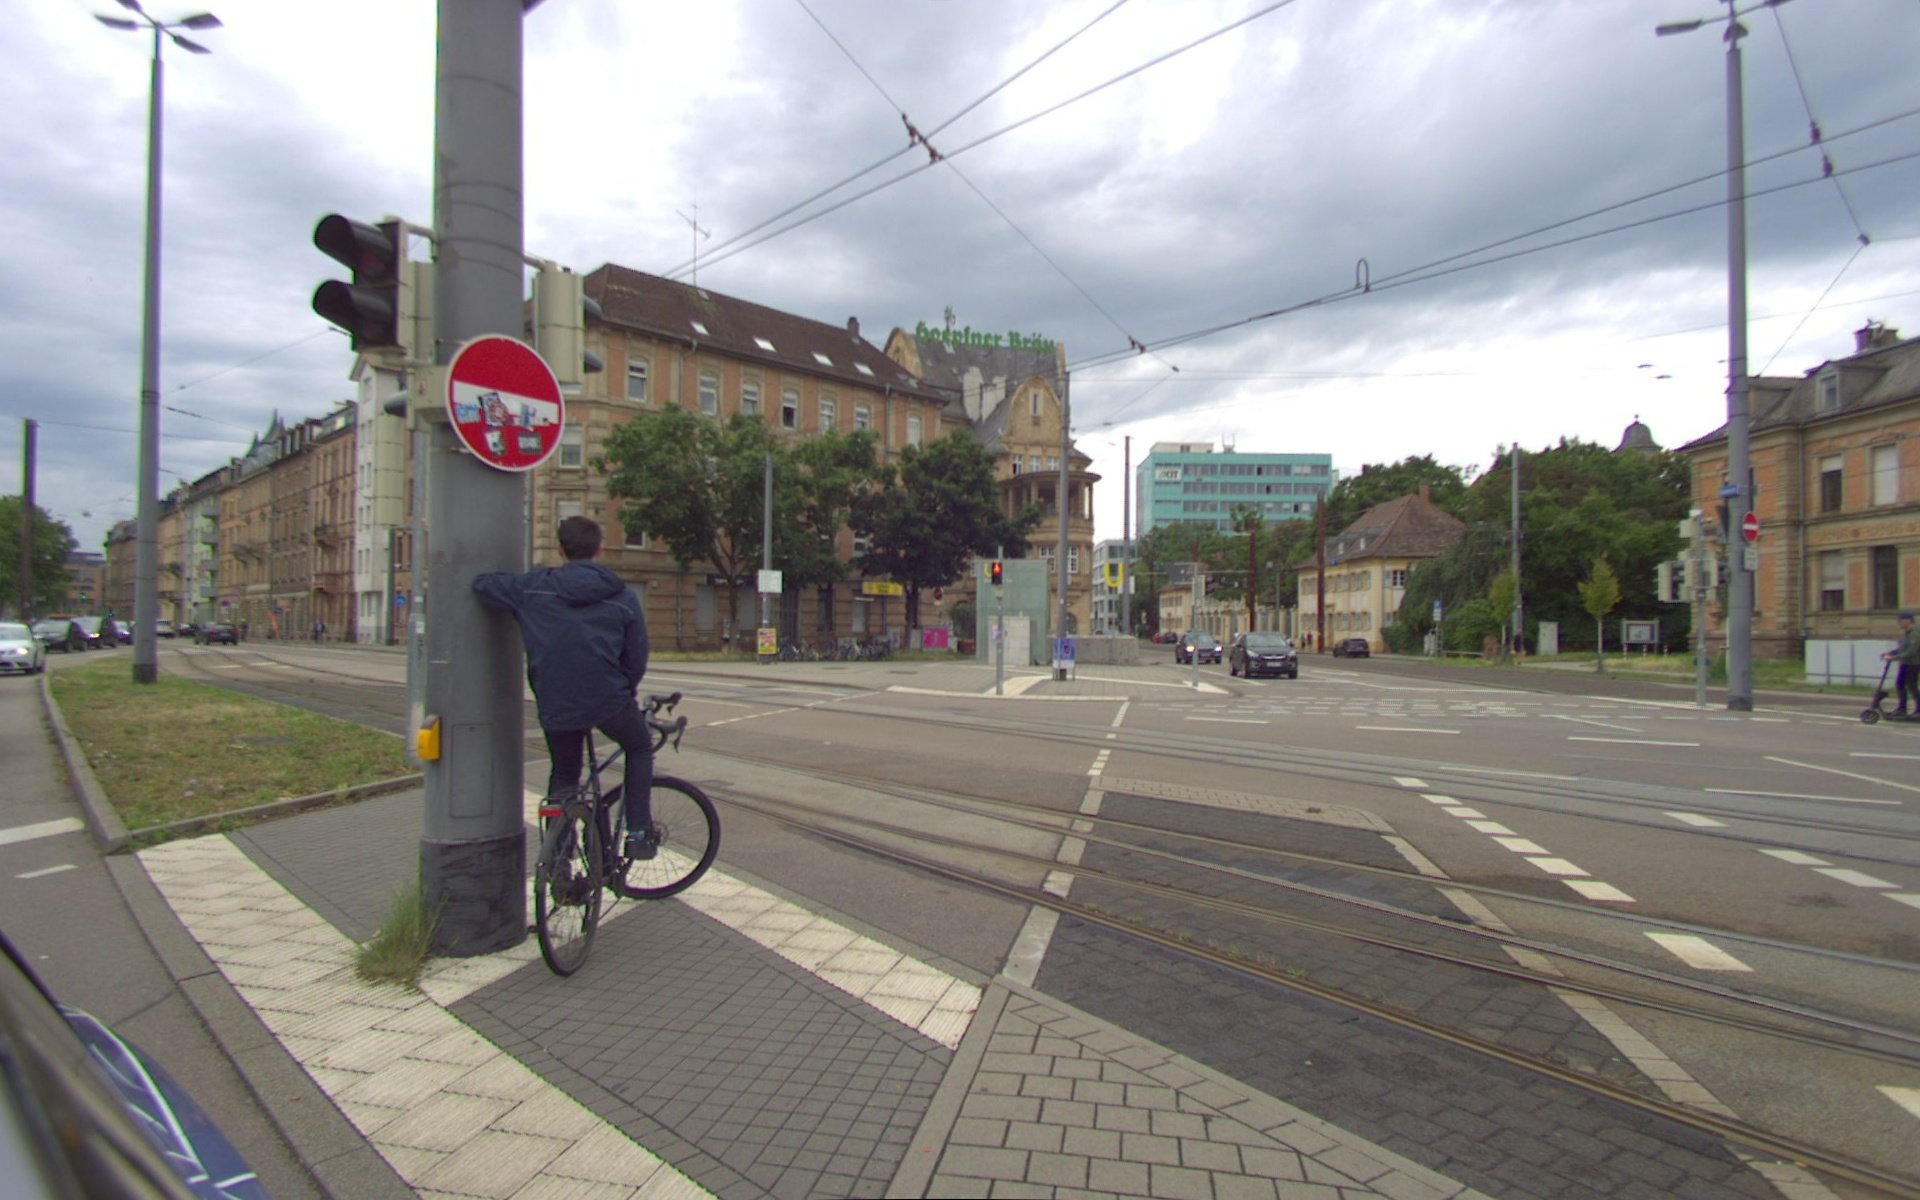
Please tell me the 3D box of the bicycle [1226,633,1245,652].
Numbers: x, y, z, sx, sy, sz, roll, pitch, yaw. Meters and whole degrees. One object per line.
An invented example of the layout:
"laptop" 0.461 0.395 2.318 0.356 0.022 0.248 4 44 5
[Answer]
"bicycle" 25.763 3.964 94.858 1.072 1.763 3.083 0 -2 3

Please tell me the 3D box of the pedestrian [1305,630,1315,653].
"pedestrian" 29.636 3.531 85.711 0.603 1.900 0.702 0 -2 3

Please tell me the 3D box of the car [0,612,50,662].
"car" -40.222 1.558 43.137 1.970 2.029 4.003 2 -3 -44

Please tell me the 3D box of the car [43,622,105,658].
"car" -46.998 2.105 53.689 2.337 1.768 5.136 2 -3 -41

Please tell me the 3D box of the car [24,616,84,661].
"car" -43.152 1.802 48.173 1.970 2.029 4.003 2 -3 -44

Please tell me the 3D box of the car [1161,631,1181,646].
"car" 28.020 5.114 134.231 1.974 1.863 3.996 0 -2 3

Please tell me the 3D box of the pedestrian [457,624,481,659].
"pedestrian" -23.975 1.998 49.426 0.798 1.688 0.801 -1 -3 42

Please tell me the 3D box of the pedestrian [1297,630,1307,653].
"pedestrian" 28.982 3.534 85.752 0.603 1.900 0.702 0 -2 3

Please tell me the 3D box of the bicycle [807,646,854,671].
"bicycle" -5.661 2.528 44.237 0.743 1.038 2.398 2 -3 -44

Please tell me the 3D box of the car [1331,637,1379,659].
"car" 27.891 3.369 71.508 1.974 1.442 3.996 0 -2 3

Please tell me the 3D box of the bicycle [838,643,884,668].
"bicycle" -4.441 2.470 45.286 0.743 1.038 2.398 2 -3 -44

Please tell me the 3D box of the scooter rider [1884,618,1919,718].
"scooter rider" 15.936 1.128 16.794 0.821 1.640 0.562 -1 -3 39

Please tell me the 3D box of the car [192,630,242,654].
"car" -48.085 2.677 65.486 4.465 1.481 1.862 -1 -2 44

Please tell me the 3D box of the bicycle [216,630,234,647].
"bicycle" -57.420 3.024 79.057 0.787 1.302 2.413 2 -3 -44

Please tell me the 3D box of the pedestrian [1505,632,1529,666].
"pedestrian" 30.145 2.640 54.764 0.799 1.846 0.849 0 -2 2

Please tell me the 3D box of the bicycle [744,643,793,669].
"bicycle" -7.994 2.314 42.206 0.825 1.038 2.398 2 -3 -44

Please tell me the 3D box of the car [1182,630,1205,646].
"car" 27.544 4.442 119.417 1.974 1.863 3.996 0 -2 3

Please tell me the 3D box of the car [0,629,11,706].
"car" -19.819 1.269 19.711 3.985 1.417 1.784 -1 -3 45

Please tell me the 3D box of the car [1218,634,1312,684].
"car" 10.766 2.052 36.077 1.971 1.623 4.245 0 -2 -1

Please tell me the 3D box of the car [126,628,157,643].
"car" -79.173 3.391 97.909 4.018 1.442 1.790 -1 -2 44

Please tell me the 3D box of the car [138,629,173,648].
"car" -70.064 3.333 88.133 4.232 1.658 1.810 -1 -3 44

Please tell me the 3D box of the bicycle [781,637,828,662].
"bicycle" -6.711 2.106 43.612 0.743 1.038 2.398 2 -3 -44

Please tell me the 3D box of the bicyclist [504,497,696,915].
"bicyclist" -1.521 0.423 4.361 0.511 1.652 0.654 0 -2 6

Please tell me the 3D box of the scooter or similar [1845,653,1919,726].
"scooter or similar" 15.969 1.486 16.771 1.904 1.174 0.567 -1 -2 38

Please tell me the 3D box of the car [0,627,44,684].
"car" -26.478 1.485 27.745 1.943 1.467 4.198 2 -3 -42

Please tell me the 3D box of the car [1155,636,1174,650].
"car" 28.020 5.929 139.003 1.974 1.863 3.996 0 -2 3

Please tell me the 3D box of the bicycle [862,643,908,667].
"bicycle" -3.442 2.521 46.314 0.743 1.038 2.398 2 -3 -44

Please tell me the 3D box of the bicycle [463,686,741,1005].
"bicycle" -1.503 0.969 4.555 0.521 1.078 1.611 0 -2 6

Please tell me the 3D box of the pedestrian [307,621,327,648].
"pedestrian" -43.652 2.354 68.726 0.713 1.846 0.917 0 -2 10

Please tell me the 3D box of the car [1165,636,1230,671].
"car" 12.449 2.775 53.428 2.132 1.727 4.925 0 -2 -1

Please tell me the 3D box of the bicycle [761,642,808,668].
"bicycle" -7.422 2.292 42.764 0.743 1.038 2.398 2 -3 -44
